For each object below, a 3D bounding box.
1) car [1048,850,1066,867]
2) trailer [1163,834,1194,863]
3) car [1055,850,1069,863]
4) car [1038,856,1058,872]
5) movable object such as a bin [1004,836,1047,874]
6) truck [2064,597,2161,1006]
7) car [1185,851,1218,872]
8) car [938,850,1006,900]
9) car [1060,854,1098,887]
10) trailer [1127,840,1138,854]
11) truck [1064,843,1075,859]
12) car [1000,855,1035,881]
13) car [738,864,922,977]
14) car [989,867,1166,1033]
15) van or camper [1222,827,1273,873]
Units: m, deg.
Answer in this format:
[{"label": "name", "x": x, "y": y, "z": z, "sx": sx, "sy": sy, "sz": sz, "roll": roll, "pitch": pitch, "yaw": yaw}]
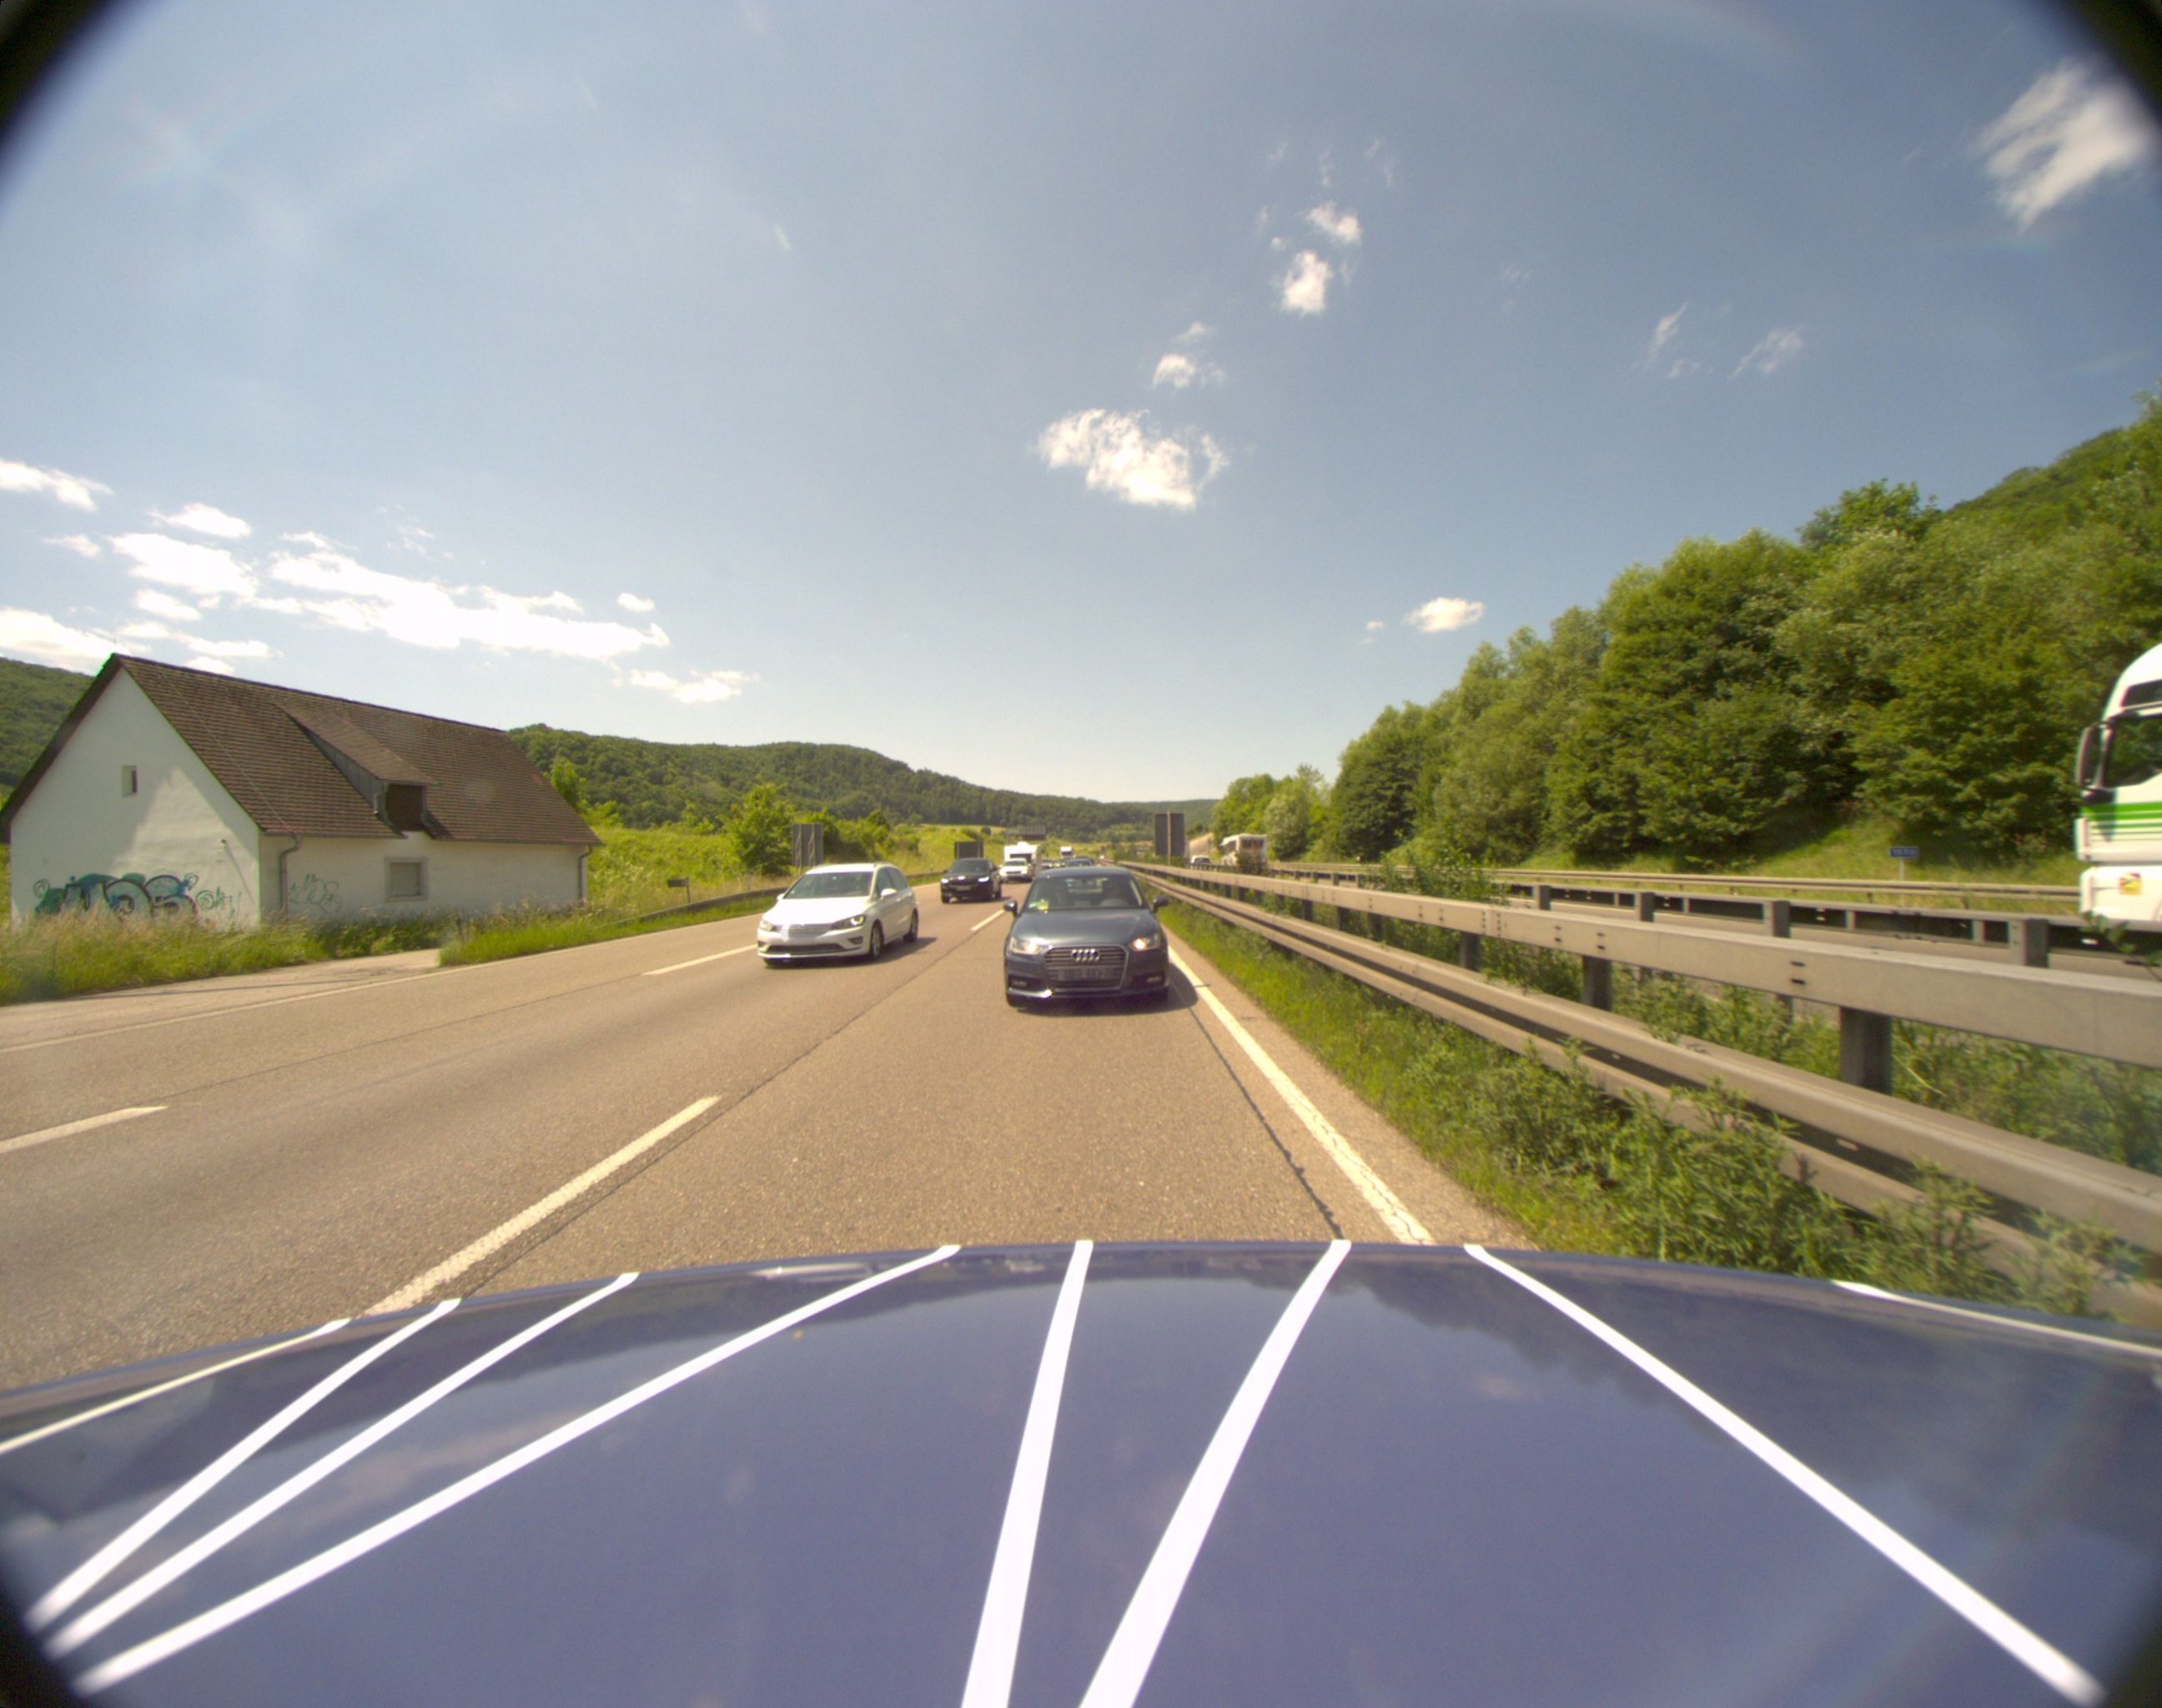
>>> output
[{"label": "car", "x": -3.111, "y": 0.561, "z": 96.777, "sx": 1.999, "sy": 2.002, "sz": 3.998, "roll": -1, "pitch": 0, "yaw": -5}, {"label": "trailer", "x": 14.101, "y": -0.767, "z": 110.554, "sx": 2.789, "sy": 3.976, "sz": 14.159, "roll": -1, "pitch": 0, "yaw": 1}, {"label": "car", "x": -2.993, "y": 0.379, "z": 120.787, "sx": 1.998, "sy": 2.002, "sz": 4.000, "roll": -2, "pitch": 0, "yaw": 0}, {"label": "car", "x": -3.238, "y": 0.945, "z": 75.393, "sx": 1.711, "sy": 1.542, "sz": 4.000, "roll": -1, "pitch": 0, "yaw": 1}, {"label": "movable object such as a bin", "x": -4.042, "y": 0.060, "z": 56.491, "sx": 2.481, "sy": 2.616, "sz": 6.709, "roll": -2, "pitch": 0, "yaw": 1}, {"label": "truck", "x": 11.943, "y": -0.541, "z": 3.026, "sx": 2.876, "sy": 3.983, "sz": 10.170, "roll": -2, "pitch": 0, "yaw": 0}, {"label": "car", "x": 9.055, "y": 0.546, "z": 57.434, "sx": 1.802, "sy": 1.455, "sz": 4.536, "roll": -1, "pitch": 0, "yaw": 0}, {"label": "car", "x": -4.084, "y": 0.758, "z": 29.113, "sx": 1.893, "sy": 1.761, "sz": 4.172, "roll": -1, "pitch": 0, "yaw": 2}, {"label": "car", "x": -0.061, "y": 0.811, "z": 39.468, "sx": 1.835, "sy": 1.586, "sz": 4.000, "roll": -1, "pitch": 0, "yaw": 2}, {"label": "trailer", "x": 14.811, "y": -1.956, "z": 218.273, "sx": 2.587, "sy": 3.981, "sz": 12.601, "roll": -2, "pitch": 0, "yaw": 1}, {"label": "truck", "x": -2.651, "y": -0.627, "z": 177.606, "sx": 2.336, "sy": 3.623, "sz": 7.006, "roll": -2, "pitch": 0, "yaw": 1}, {"label": "car", "x": -4.079, "y": 0.887, "z": 49.420, "sx": 1.821, "sy": 1.574, "sz": 4.000, "roll": -2, "pitch": 0, "yaw": 1}, {"label": "car", "x": -4.072, "y": 0.996, "z": 13.094, "sx": 1.777, "sy": 1.532, "sz": 4.054, "roll": -2, "pitch": 0, "yaw": 0}, {"label": "car", "x": 0.097, "y": 0.925, "z": 8.992, "sx": 1.591, "sy": 1.401, "sz": 4.001, "roll": -2, "pitch": 0, "yaw": 4}, {"label": "van or camper", "x": 12.809, "y": -0.306, "z": 59.092, "sx": 2.596, "sy": 3.316, "sz": 7.649, "roll": -1, "pitch": 0, "yaw": 3}]
